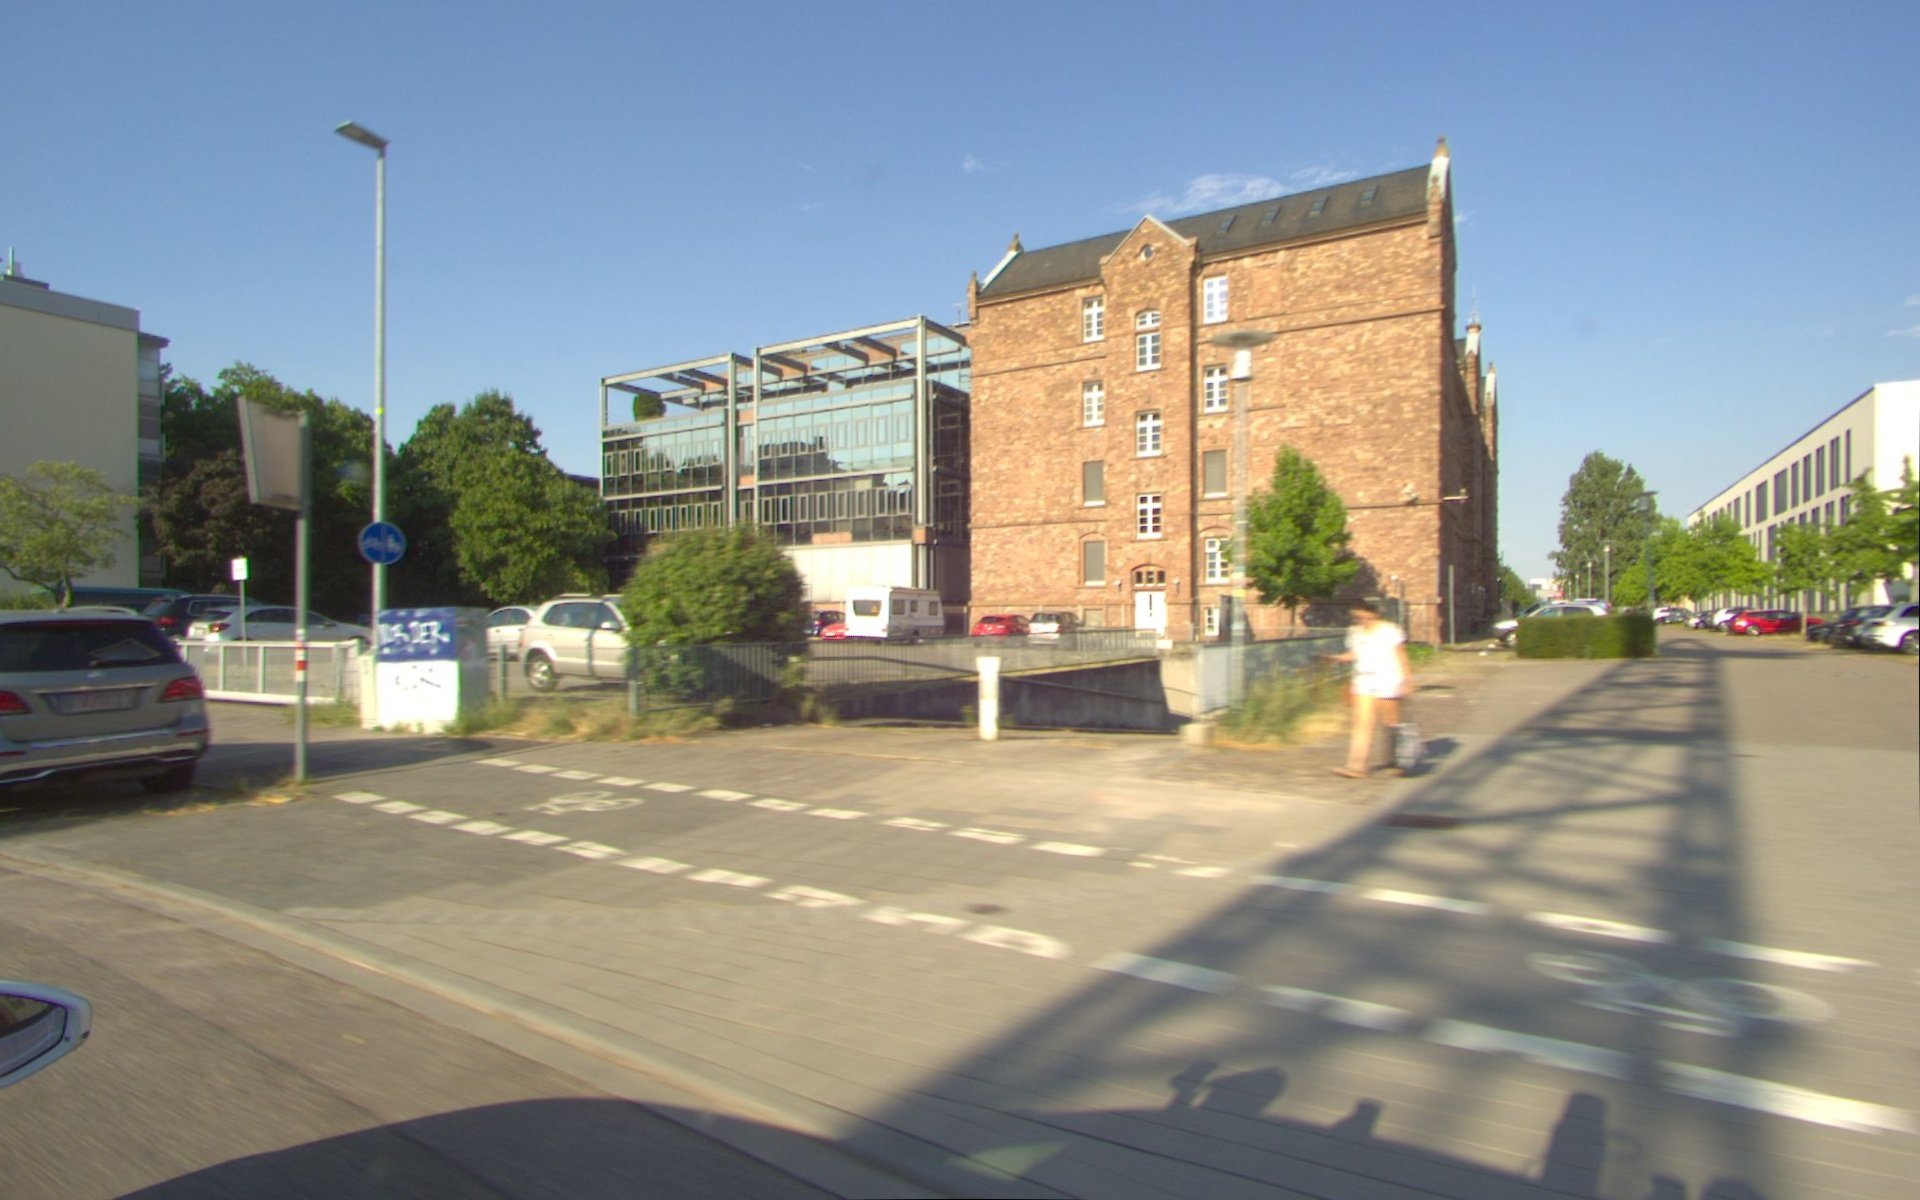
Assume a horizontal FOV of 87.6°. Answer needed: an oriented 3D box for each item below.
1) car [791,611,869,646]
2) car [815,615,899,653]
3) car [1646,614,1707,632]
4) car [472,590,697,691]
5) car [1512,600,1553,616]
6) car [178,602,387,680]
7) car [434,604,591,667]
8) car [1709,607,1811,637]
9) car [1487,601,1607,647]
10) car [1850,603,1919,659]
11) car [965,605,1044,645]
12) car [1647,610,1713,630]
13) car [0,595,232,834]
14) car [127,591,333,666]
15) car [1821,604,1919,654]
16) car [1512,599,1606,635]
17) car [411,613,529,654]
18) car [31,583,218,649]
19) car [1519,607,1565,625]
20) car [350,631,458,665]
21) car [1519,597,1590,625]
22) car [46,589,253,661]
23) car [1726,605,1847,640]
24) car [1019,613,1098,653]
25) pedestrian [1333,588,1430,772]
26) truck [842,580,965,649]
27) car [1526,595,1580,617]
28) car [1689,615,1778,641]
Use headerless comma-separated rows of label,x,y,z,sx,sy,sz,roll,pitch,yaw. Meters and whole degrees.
car,-6.218,1.429,48.397,1.802,1.521,4.074,-2,-4,26
car,-4.739,1.629,46.720,1.706,1.621,4.476,-2,-4,29
car,73.887,2.399,103.309,4.900,1.734,1.992,-2,-4,31
car,-6.879,0.789,18.291,3.939,1.682,1.653,-2,-4,28
car,65.430,0.924,114.439,3.944,1.637,1.991,-2,-4,32
car,-17.275,1.109,25.751,1.969,1.815,3.989,-2,-4,26
car,-12.544,1.063,28.068,3.938,1.645,1.994,-2,-4,28
car,52.118,1.452,65.389,4.900,1.734,1.992,-2,-4,31
car,23.049,0.994,39.395,3.944,1.637,1.991,-2,-4,32
car,31.754,0.981,31.751,4.900,1.734,1.992,-2,-4,31
car,1.964,1.133,42.962,1.803,1.521,4.071,-2,-4,29
car,68.425,1.937,95.297,4.900,1.734,1.992,-2,-4,31
car,-9.225,0.966,9.449,4.738,1.803,1.918,-2,1,29
car,-19.429,0.846,26.835,1.969,1.815,3.989,-2,-4,26
car,34.391,1.045,35.957,4.900,1.734,1.992,-2,-4,31
car,30.088,0.895,50.338,3.944,1.637,1.991,-2,-4,32
car,-21.349,1.519,43.827,1.706,1.621,4.476,-2,-4,29
car,-25.797,0.560,31.065,1.969,1.815,3.989,-2,-4,26
car,57.871,1.618,99.578,3.944,1.637,1.991,-2,-4,32
car,-25.829,2.272,46.661,1.802,1.521,4.074,-2,-4,26
car,39.685,0.756,66.872,3.944,1.637,1.991,-2,-4,32
car,-22.340,0.780,27.763,1.969,1.815,3.987,-2,-4,28
car,46.081,1.292,56.011,4.900,1.734,1.992,-2,-4,31
car,4.142,1.421,41.625,1.803,1.521,4.071,-2,-4,29
pedestrian,3.940,0.738,9.355,0.777,1.631,0.714,-1,-3,25
truck,-2.411,0.775,45.048,2.504,2.716,6.422,-2,-4,29
car,50.765,0.572,85.756,3.944,1.637,1.991,-2,-4,32
car,56.383,2.056,73.142,4.900,1.734,1.992,-2,-4,31
